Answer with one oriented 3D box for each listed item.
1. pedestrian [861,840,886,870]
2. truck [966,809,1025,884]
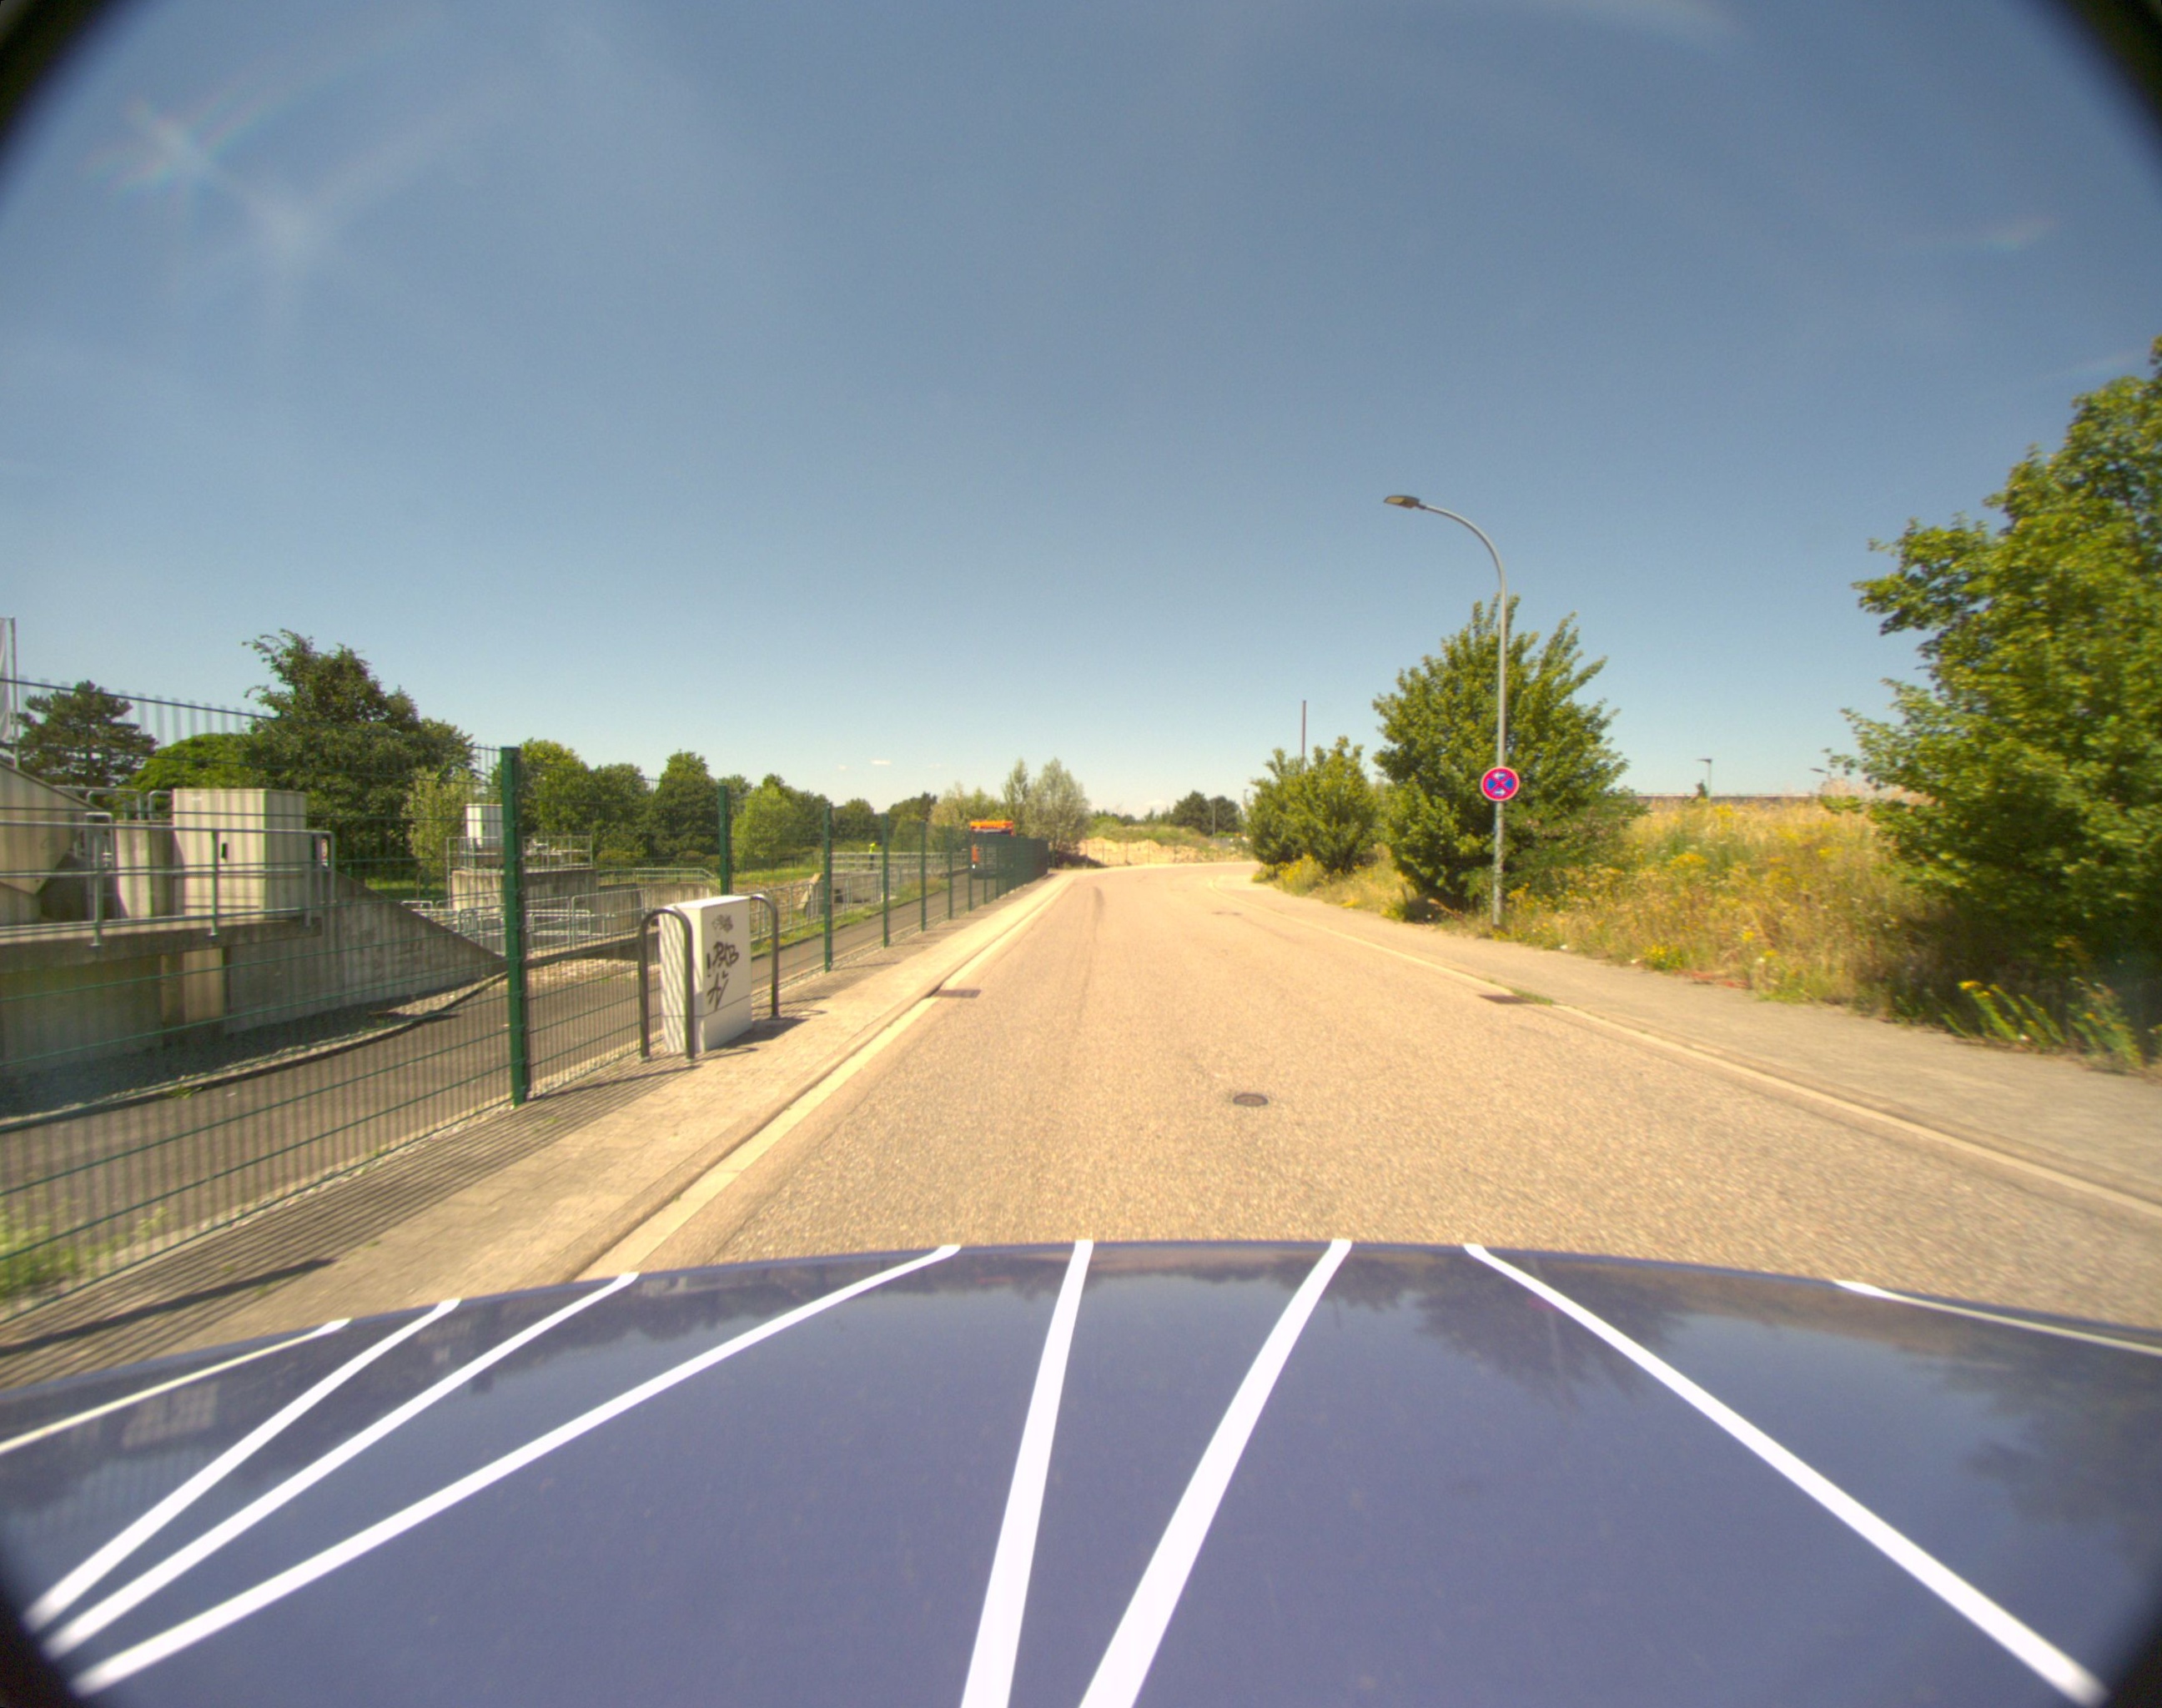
[{"bbox_3d":[-14.076,0.051,51.633,1.304,2.002,1.216,-2,1,1],"label":"pedestrian"},{"bbox_3d":[-5.145,-0.434,47.315,2.847,4.172,8.130,-2,0,-2],"label":"truck"}]
